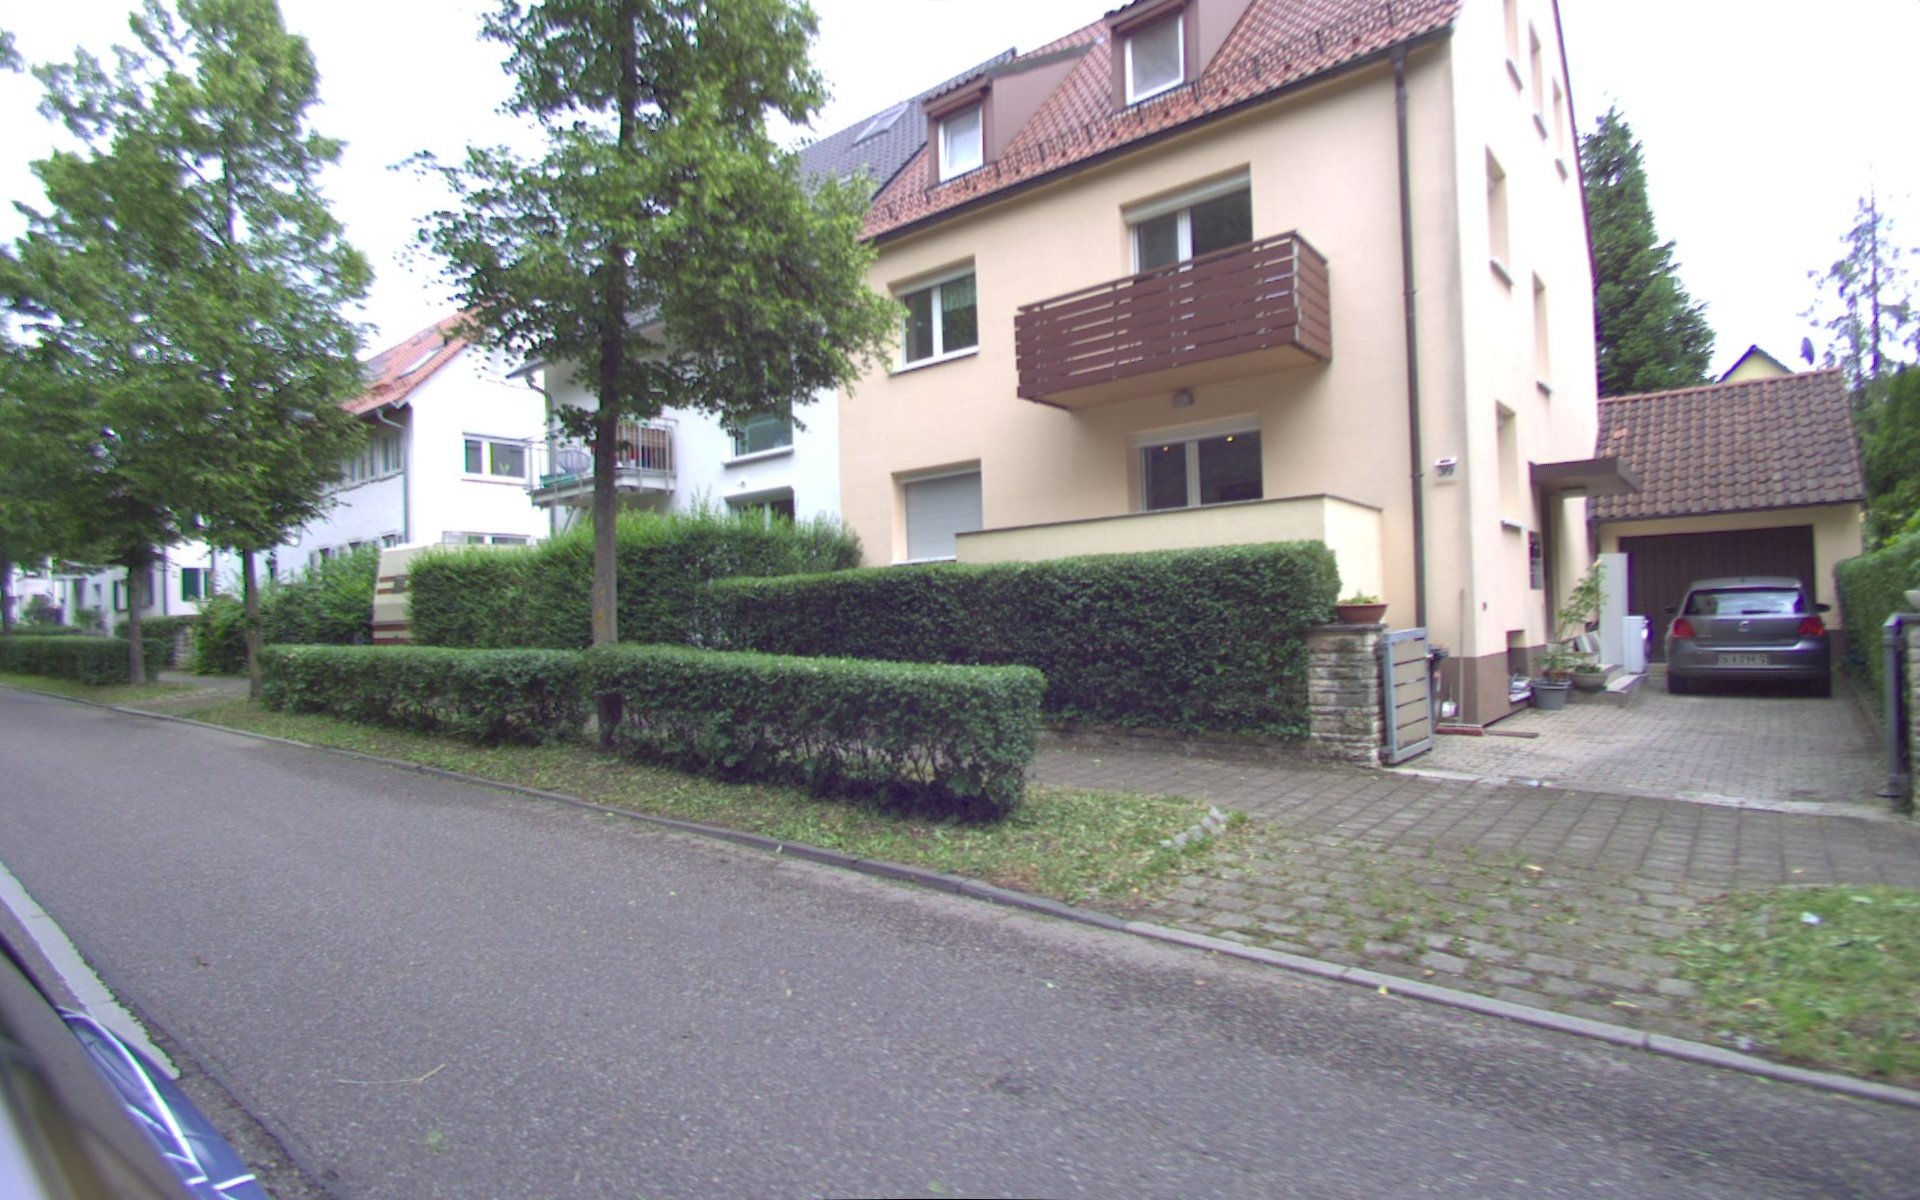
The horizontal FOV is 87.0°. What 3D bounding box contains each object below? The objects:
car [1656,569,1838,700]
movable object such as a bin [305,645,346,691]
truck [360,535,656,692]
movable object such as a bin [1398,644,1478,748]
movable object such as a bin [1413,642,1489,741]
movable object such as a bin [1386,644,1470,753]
[{"bbox_3d":[10.606,0.366,13.653,1.696,1.452,3.857,-1,1,39],"label":"car"},{"bbox_3d":[-13.598,1.448,21.684,0.693,0.933,0.574,-2,-2,42],"label":"movable object such as a bin"},{"bbox_3d":[-10.247,0.286,23.440,2.514,3.154,5.741,-2,-1,38],"label":"truck"},{"bbox_3d":[4.454,0.873,9.429,0.569,0.918,0.483,-2,-2,38],"label":"movable object such as a bin"},{"bbox_3d":[4.777,0.871,9.850,0.569,0.918,0.483,-2,-2,38],"label":"movable object such as a bin"},{"bbox_3d":[4.163,0.852,9.006,0.569,0.918,0.483,-2,-2,38],"label":"movable object such as a bin"}]
